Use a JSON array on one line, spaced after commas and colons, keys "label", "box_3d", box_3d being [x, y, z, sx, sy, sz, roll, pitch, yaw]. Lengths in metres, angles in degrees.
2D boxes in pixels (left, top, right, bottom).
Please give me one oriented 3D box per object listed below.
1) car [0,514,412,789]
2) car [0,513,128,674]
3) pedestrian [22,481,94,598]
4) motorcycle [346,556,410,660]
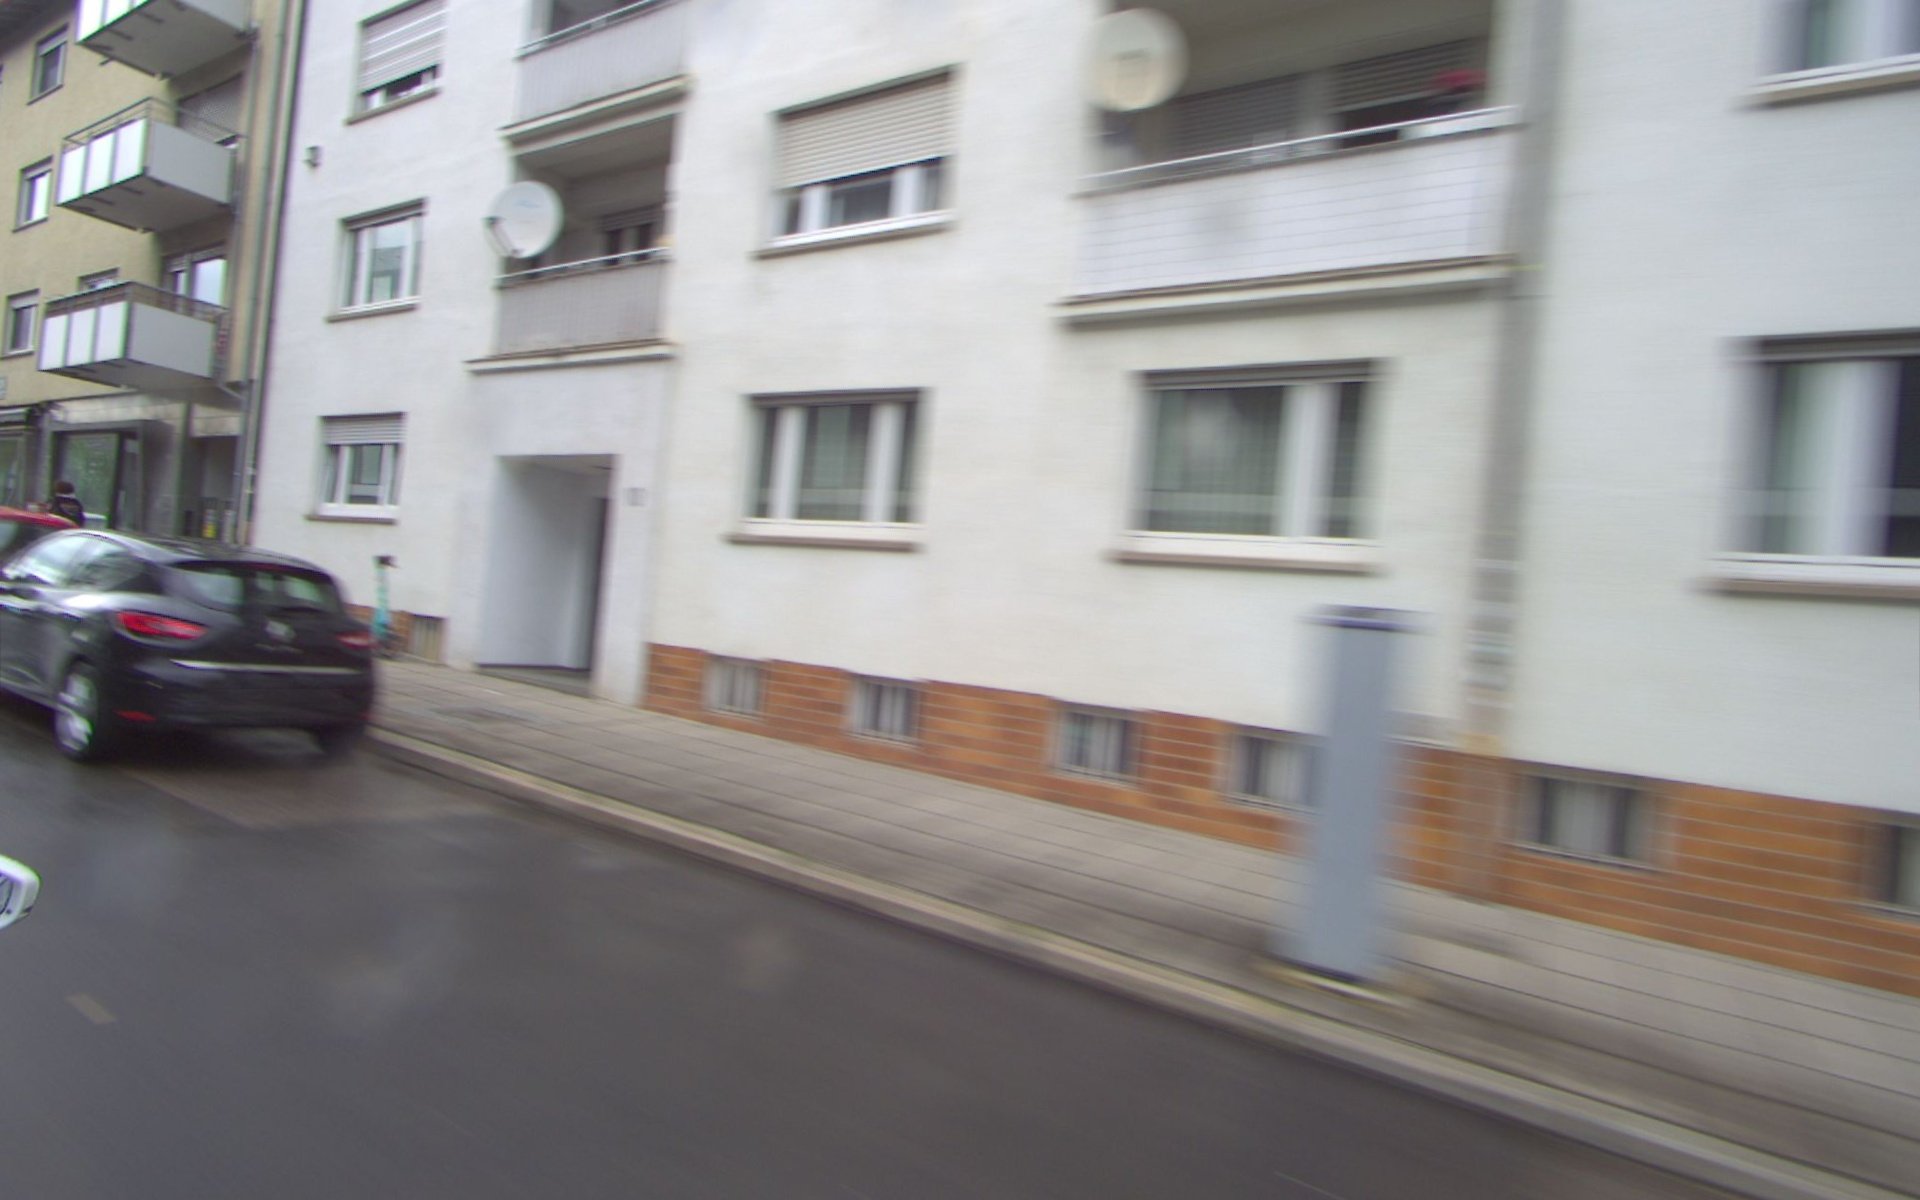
[{"label": "car", "box_3d": [-6.158, 0.254, 7.588, 3.918, 1.471, 1.709, 7, -1, 31]}, {"label": "car", "box_3d": [-10.366, -0.222, 10.355, 3.593, 1.430, 1.585, 7, -1, 31]}, {"label": "pedestrian", "box_3d": [-15.483, -1.031, 17.273, 0.530, 1.892, 0.640, 7, -1, 33]}, {"label": "motorcycle", "box_3d": [-7.108, 0.088, 12.278, 0.768, 1.179, 0.253, 7, -1, 35]}]
